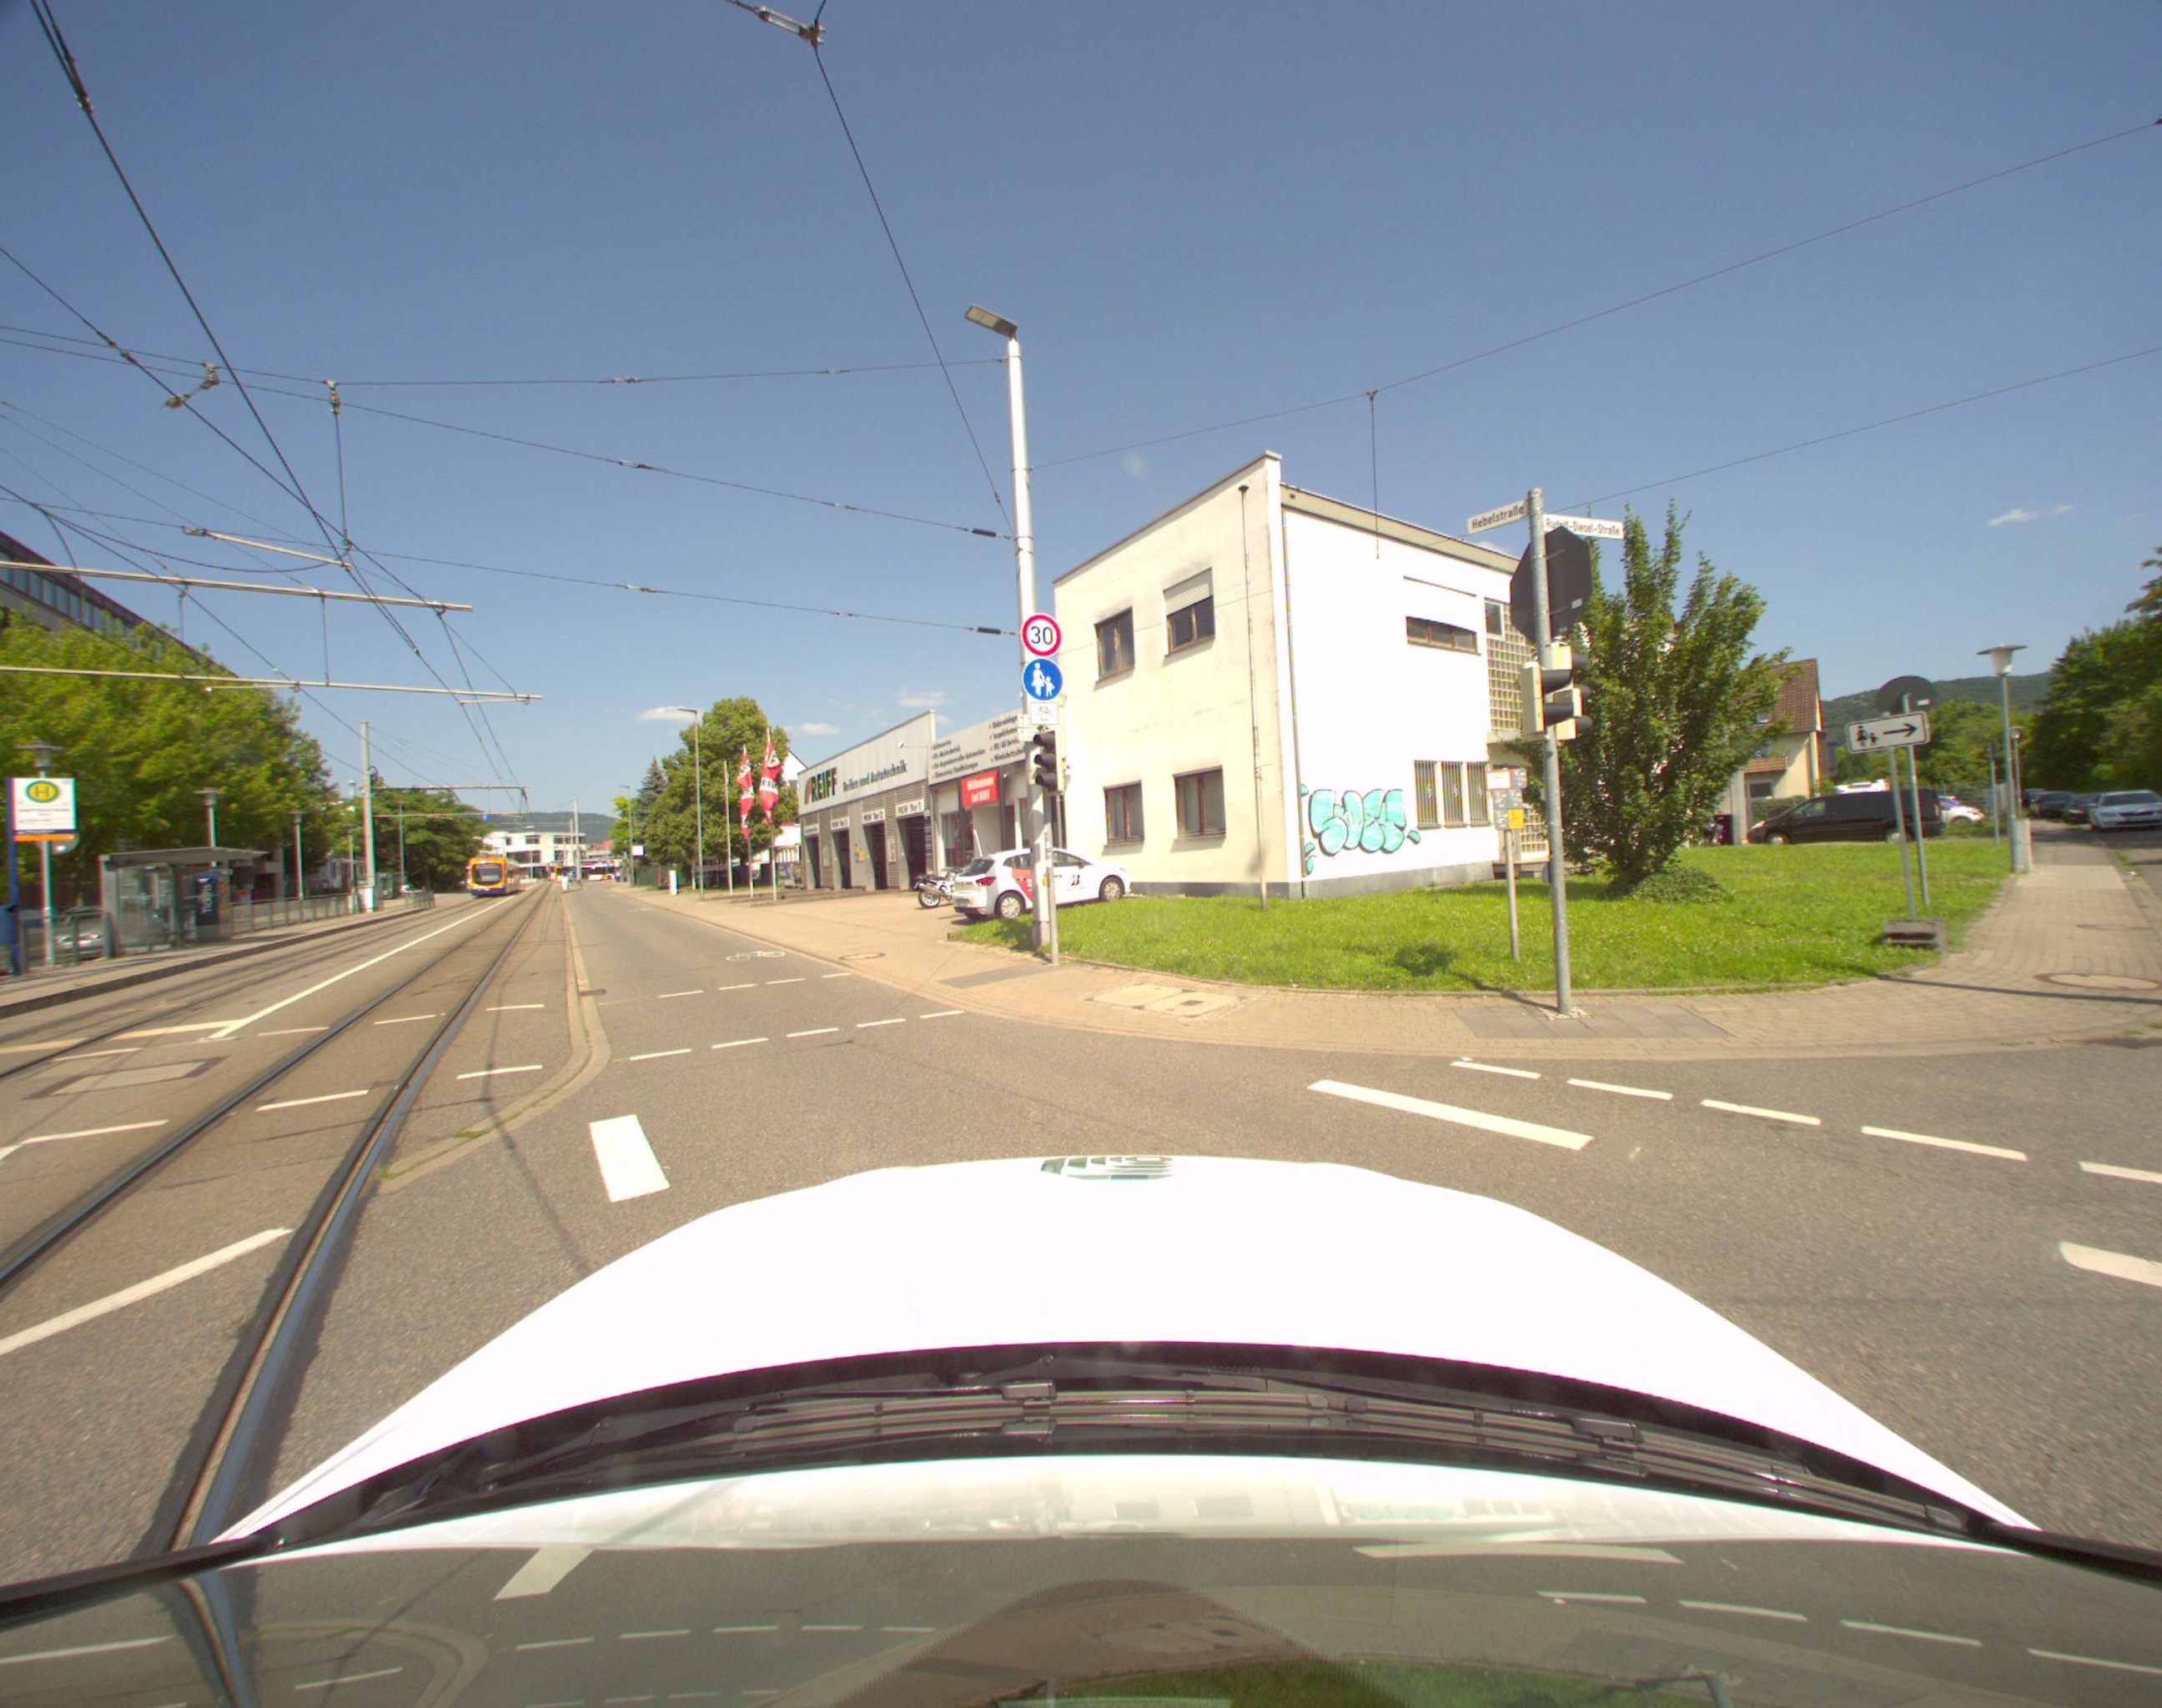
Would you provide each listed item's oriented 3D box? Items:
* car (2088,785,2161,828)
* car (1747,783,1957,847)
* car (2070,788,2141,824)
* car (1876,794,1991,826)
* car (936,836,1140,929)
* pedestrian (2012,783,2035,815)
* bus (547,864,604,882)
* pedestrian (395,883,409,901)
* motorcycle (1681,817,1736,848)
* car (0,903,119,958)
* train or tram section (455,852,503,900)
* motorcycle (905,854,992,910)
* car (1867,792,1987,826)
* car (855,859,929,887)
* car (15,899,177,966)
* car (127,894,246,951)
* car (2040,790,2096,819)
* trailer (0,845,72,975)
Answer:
[{"bbox_3d":[39.762,-1.808,30.752,4.563,1.510,2.069,-3,2,-40],"label":"car"},{"bbox_3d":[27.277,-1.305,28.994,2.011,1.816,5.202,-3,-1,-41],"label":"car"},{"bbox_3d":[46.915,-2.198,37.367,3.752,1.399,1.895,-3,-1,-39],"label":"car"},{"bbox_3d":[40.877,-2.089,39.093,1.612,1.371,3.690,-2,1,-39],"label":"car"},{"bbox_3d":[-0.897,0.564,17.927,4.018,1.462,1.869,-7,2,-35],"label":"car"},{"bbox_3d":[54.749,-3.180,47.313,0.735,1.762,0.868,-1,0,-41],"label":"pedestrian"},{"bbox_3d":[-95.488,3.599,154.039,2.412,2.879,8.848,-3,0,40],"label":"bus"},{"bbox_3d":[-61.928,3.493,74.272,0.840,1.537,0.829,-4,1,-33],"label":"pedestrian"},{"bbox_3d":[21.505,-0.738,27.906,2.579,1.032,0.845,-1,0,-37],"label":"motorcycle"},{"bbox_3d":[-33.094,2.399,26.132,1.734,1.463,3.864,-1,0,-32],"label":"car"},{"bbox_3d":[-48.573,1.775,65.818,2.630,3.532,5.682,-3,0,-33],"label":"train or tram section"},{"bbox_3d":[-3.719,0.781,22.911,2.200,1.308,0.723,-7,1,-35],"label":"motorcycle"},{"bbox_3d":[38.818,-2.043,37.420,1.612,1.371,3.690,-1,1,-39],"label":"car"},{"bbox_3d":[-10.963,1.088,47.261,3.792,1.376,1.705,-3,0,-38],"label":"car"},{"bbox_3d":[-27.935,2.159,23.285,1.735,1.472,4.234,-5,1,-34],"label":"car"},{"bbox_3d":[-30.862,2.301,28.231,1.736,1.584,4.028,-6,2,-34],"label":"car"},{"bbox_3d":[55.522,-2.783,45.827,3.752,1.399,1.895,-3,0,-39],"label":"car"},{"bbox_3d":[-22.733,1.177,15.171,2.818,2.628,7.519,-3,1,-35],"label":"trailer"}]
